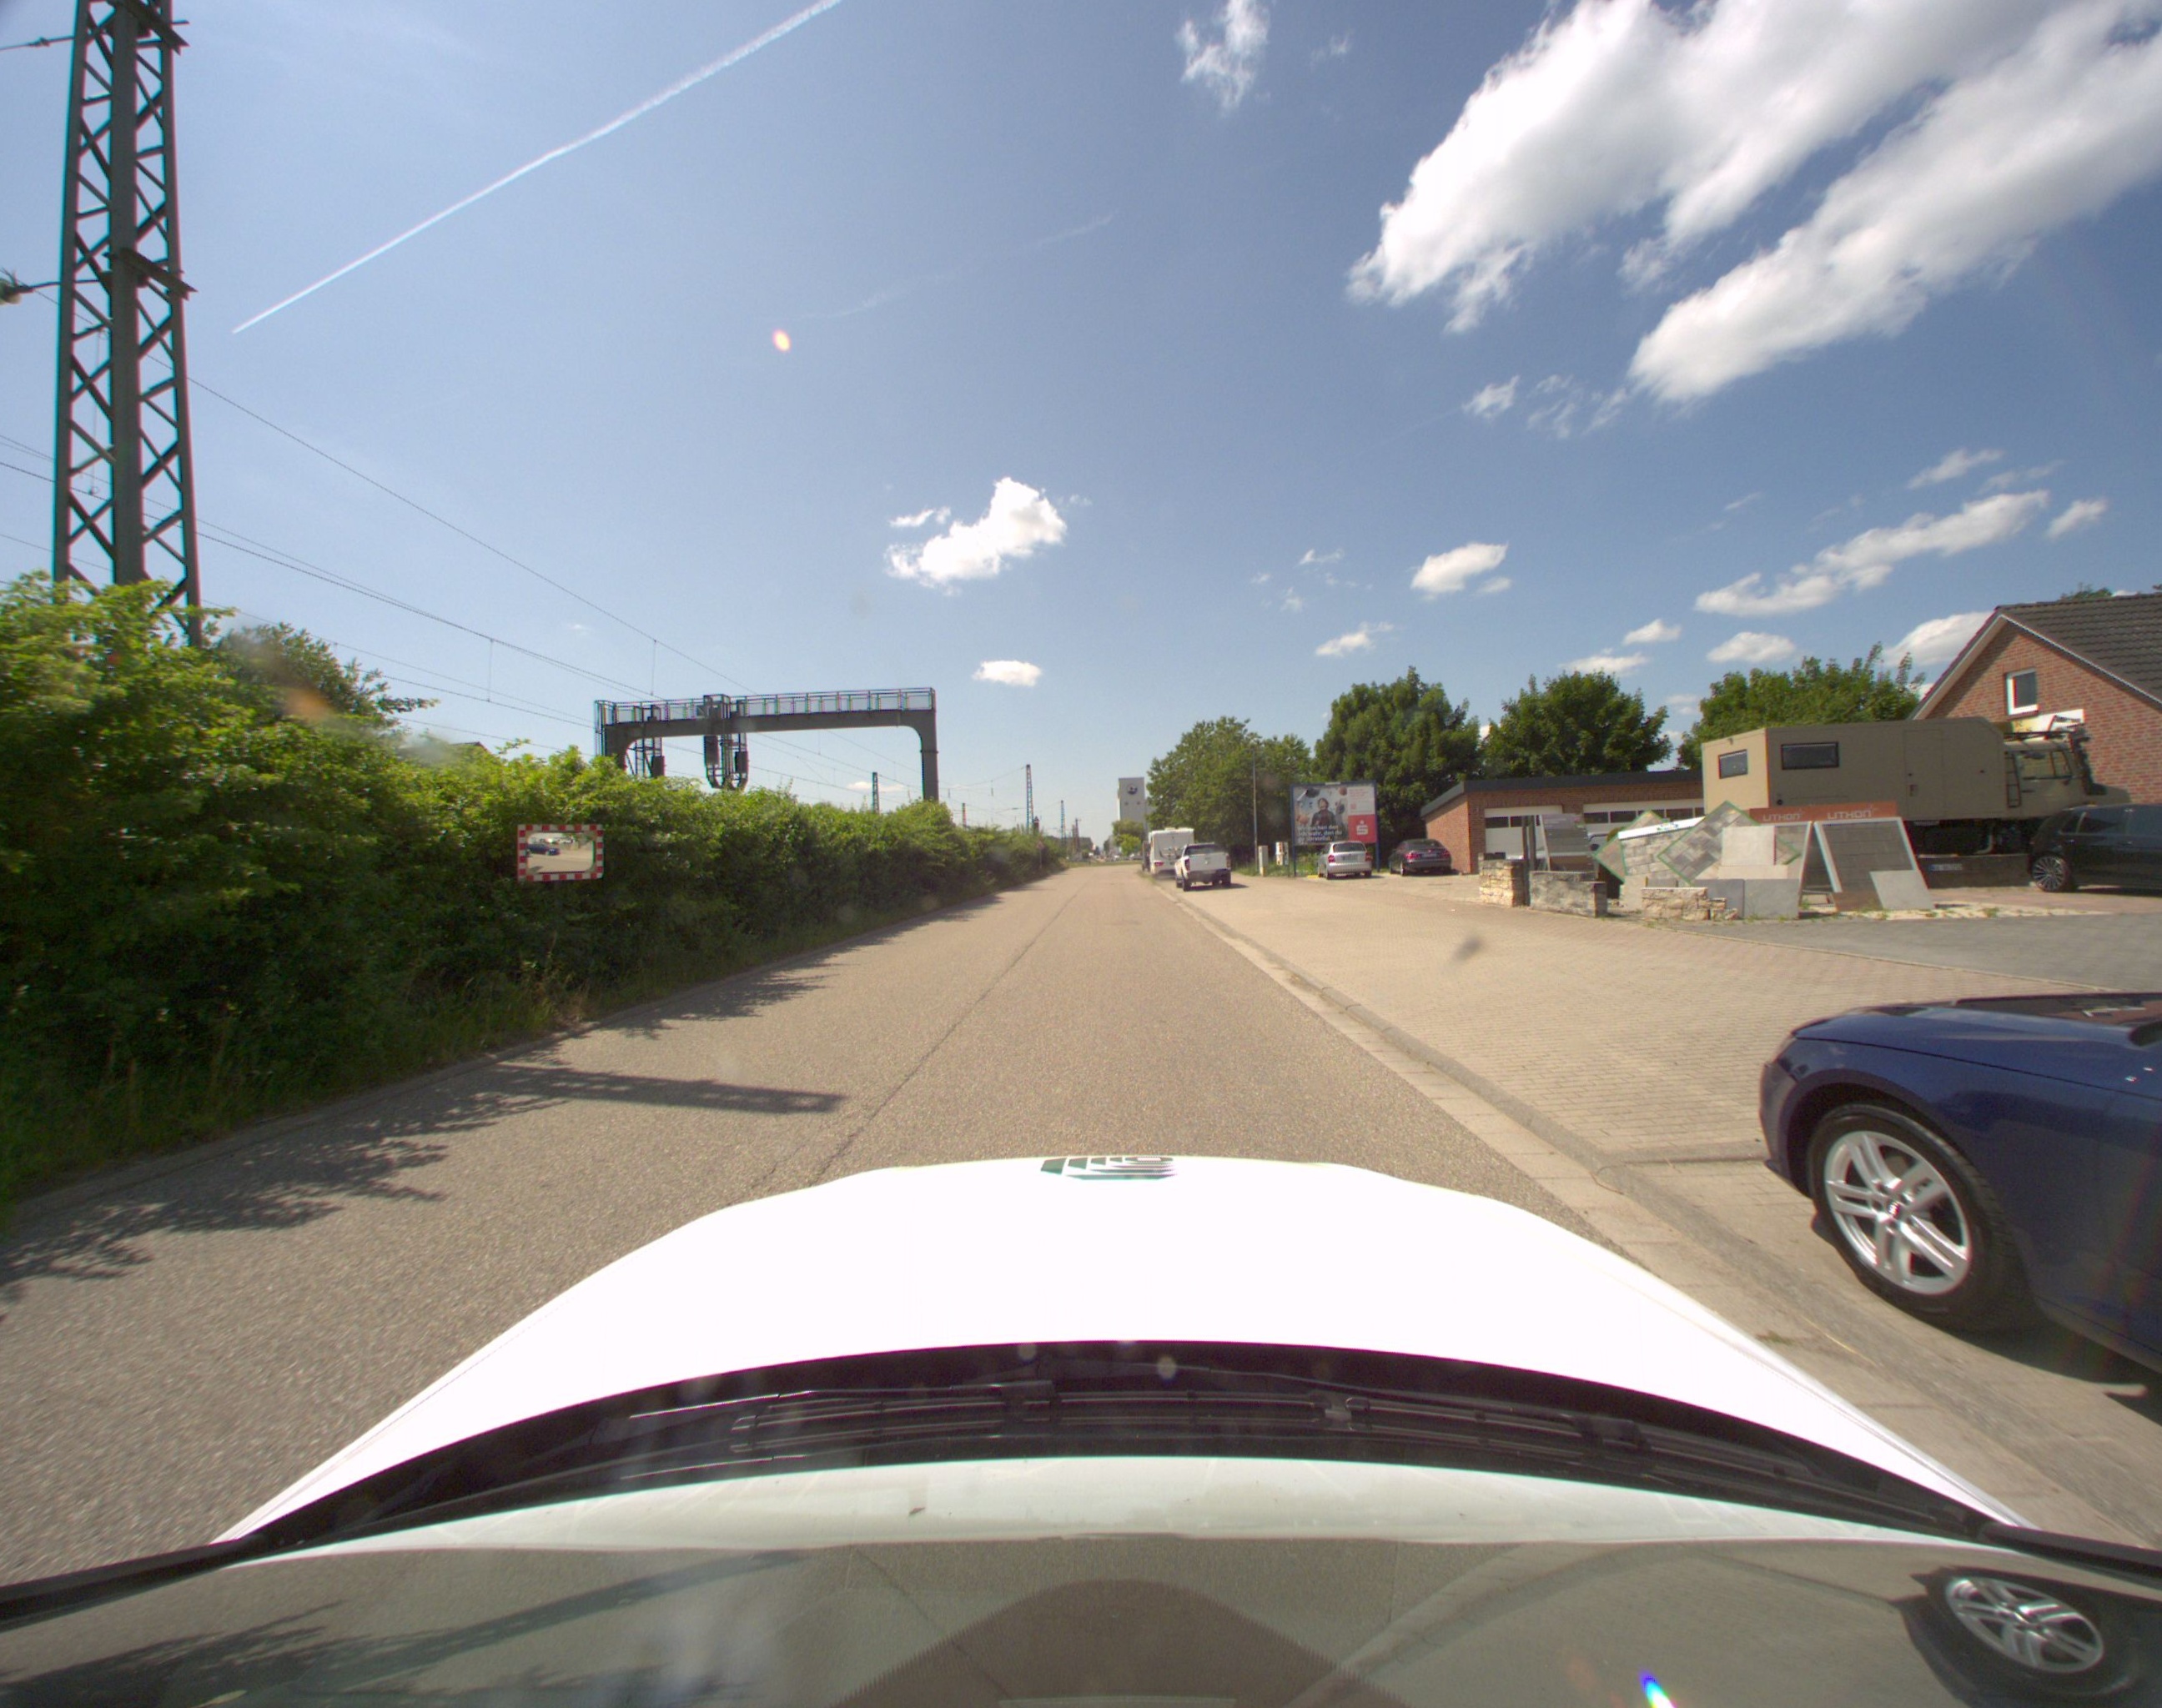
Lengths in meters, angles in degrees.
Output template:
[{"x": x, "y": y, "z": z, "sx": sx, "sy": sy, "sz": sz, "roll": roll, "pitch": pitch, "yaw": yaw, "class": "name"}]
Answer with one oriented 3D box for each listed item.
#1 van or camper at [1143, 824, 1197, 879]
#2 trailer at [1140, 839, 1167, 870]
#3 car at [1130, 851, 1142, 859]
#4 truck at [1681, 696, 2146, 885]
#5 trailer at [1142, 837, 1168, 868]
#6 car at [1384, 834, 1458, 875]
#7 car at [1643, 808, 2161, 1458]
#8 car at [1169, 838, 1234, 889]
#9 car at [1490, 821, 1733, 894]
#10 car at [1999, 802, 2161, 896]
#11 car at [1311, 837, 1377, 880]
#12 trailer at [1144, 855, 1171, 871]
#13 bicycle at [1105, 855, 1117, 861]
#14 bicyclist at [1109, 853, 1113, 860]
[{"x": 5.114, "y": -0.151, "z": 47.795, "sx": 2.430, "sy": 2.826, "sz": 7.627, "roll": -4, "pitch": 0, "yaw": 2, "class": "van or camper"}, {"x": 6.379, "y": 0.037, "z": 71.942, "sx": 1.911, "sy": 2.508, "sz": 4.744, "roll": -5, "pitch": 0, "yaw": 2, "class": "trailer"}, {"x": 11.473, "y": 0.191, "z": 169.738, "sx": 1.989, "sy": 1.510, "sz": 4.448, "roll": -2, "pitch": 0, "yaw": -4, "class": "car"}, {"x": 17.637, "y": -1.221, "z": 17.838, "sx": 6.421, "sy": 3.388, "sz": 3.115, "roll": -3, "pitch": 0, "yaw": 10, "class": "truck"}, {"x": 7.031, "y": -0.163, "z": 77.046, "sx": 1.922, "sy": 2.644, "sz": 5.195, "roll": -5, "pitch": 0, "yaw": 8, "class": "trailer"}, {"x": 13.140, "y": 0.011, "z": 31.721, "sx": 1.736, "sy": 1.376, "sz": 4.011, "roll": -4, "pitch": 0, "yaw": 10, "class": "car"}, {"x": 3.312, "y": 0.610, "z": 1.206, "sx": 1.755, "sy": 1.472, "sz": 4.720, "roll": -4, "pitch": 0, "yaw": 2, "class": "car"}, {"x": 4.817, "y": 0.361, "z": 33.302, "sx": 1.841, "sy": 1.814, "sz": 5.426, "roll": -4, "pitch": 0, "yaw": 1, "class": "car"}, {"x": 12.043, "y": 0.088, "z": 18.813, "sx": 4.240, "sy": 1.420, "sz": 1.983, "roll": -3, "pitch": 0, "yaw": 11, "class": "car"}, {"x": 16.213, "y": -0.113, "z": 11.846, "sx": 1.770, "sy": 1.324, "sz": 4.016, "roll": -3, "pitch": 0, "yaw": 13, "class": "car"}, {"x": 10.448, "y": 0.155, "z": 32.623, "sx": 1.894, "sy": 1.480, "sz": 4.011, "roll": -4, "pitch": 0, "yaw": 10, "class": "car"}, {"x": 6.221, "y": 0.753, "z": 66.435, "sx": 1.995, "sy": 1.123, "sz": 4.495, "roll": -5, "pitch": -1, "yaw": 5, "class": "trailer"}, {"x": 5.577, "y": 0.729, "z": 150.608, "sx": 2.118, "sy": 1.164, "sz": 0.665, "roll": -2, "pitch": 0, "yaw": 37, "class": "bicycle"}, {"x": 5.543, "y": 0.444, "z": 150.618, "sx": 0.505, "sy": 1.255, "sz": 0.472, "roll": -2, "pitch": 0, "yaw": 37, "class": "bicyclist"}]
